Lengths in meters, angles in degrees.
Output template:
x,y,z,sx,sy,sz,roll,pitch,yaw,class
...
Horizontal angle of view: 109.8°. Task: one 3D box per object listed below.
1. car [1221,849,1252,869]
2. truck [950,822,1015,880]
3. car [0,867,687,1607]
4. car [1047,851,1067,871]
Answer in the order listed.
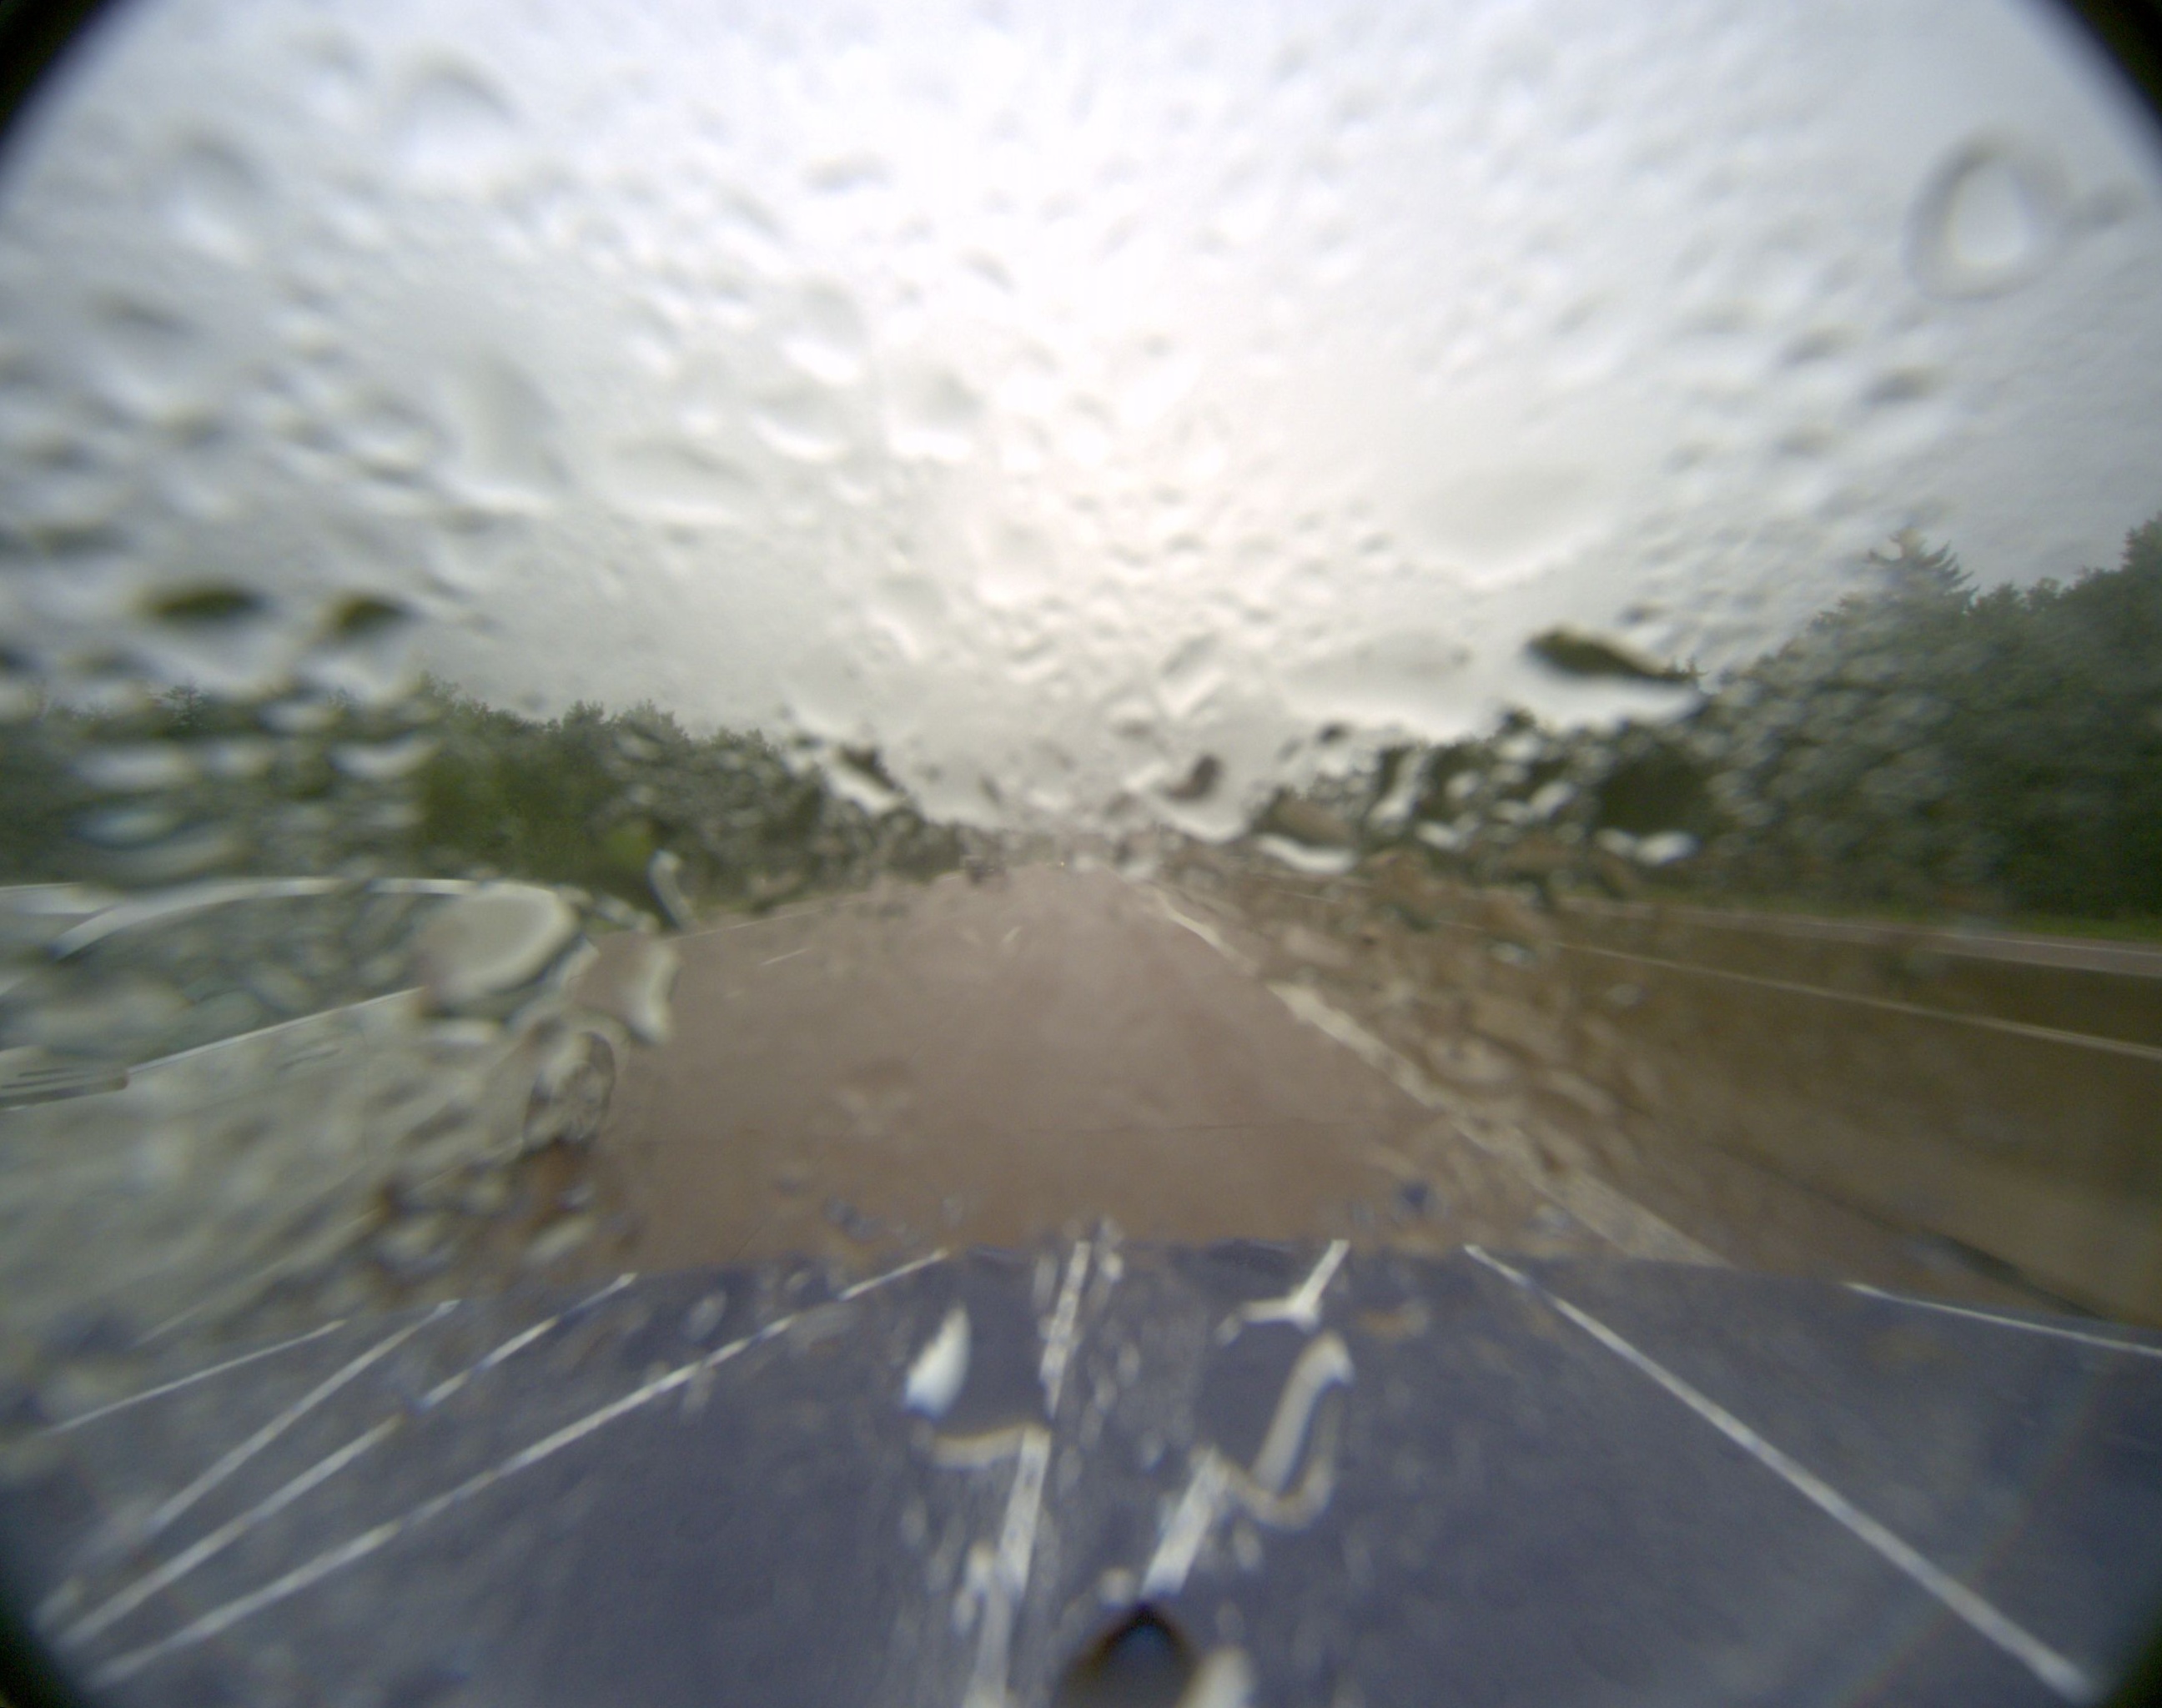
x,y,z,sx,sy,sz,roll,pitch,yaw,class
13.219,0.442,64.840,1.813,1.622,4.505,1,0,1,car
-6.771,-0.208,53.411,3.242,3.708,7.954,-2,0,1,truck
-3.552,0.992,2.657,1.813,1.718,4.743,-2,0,0,car
-2.501,0.733,80.010,1.999,2.002,4.276,-2,0,0,car
